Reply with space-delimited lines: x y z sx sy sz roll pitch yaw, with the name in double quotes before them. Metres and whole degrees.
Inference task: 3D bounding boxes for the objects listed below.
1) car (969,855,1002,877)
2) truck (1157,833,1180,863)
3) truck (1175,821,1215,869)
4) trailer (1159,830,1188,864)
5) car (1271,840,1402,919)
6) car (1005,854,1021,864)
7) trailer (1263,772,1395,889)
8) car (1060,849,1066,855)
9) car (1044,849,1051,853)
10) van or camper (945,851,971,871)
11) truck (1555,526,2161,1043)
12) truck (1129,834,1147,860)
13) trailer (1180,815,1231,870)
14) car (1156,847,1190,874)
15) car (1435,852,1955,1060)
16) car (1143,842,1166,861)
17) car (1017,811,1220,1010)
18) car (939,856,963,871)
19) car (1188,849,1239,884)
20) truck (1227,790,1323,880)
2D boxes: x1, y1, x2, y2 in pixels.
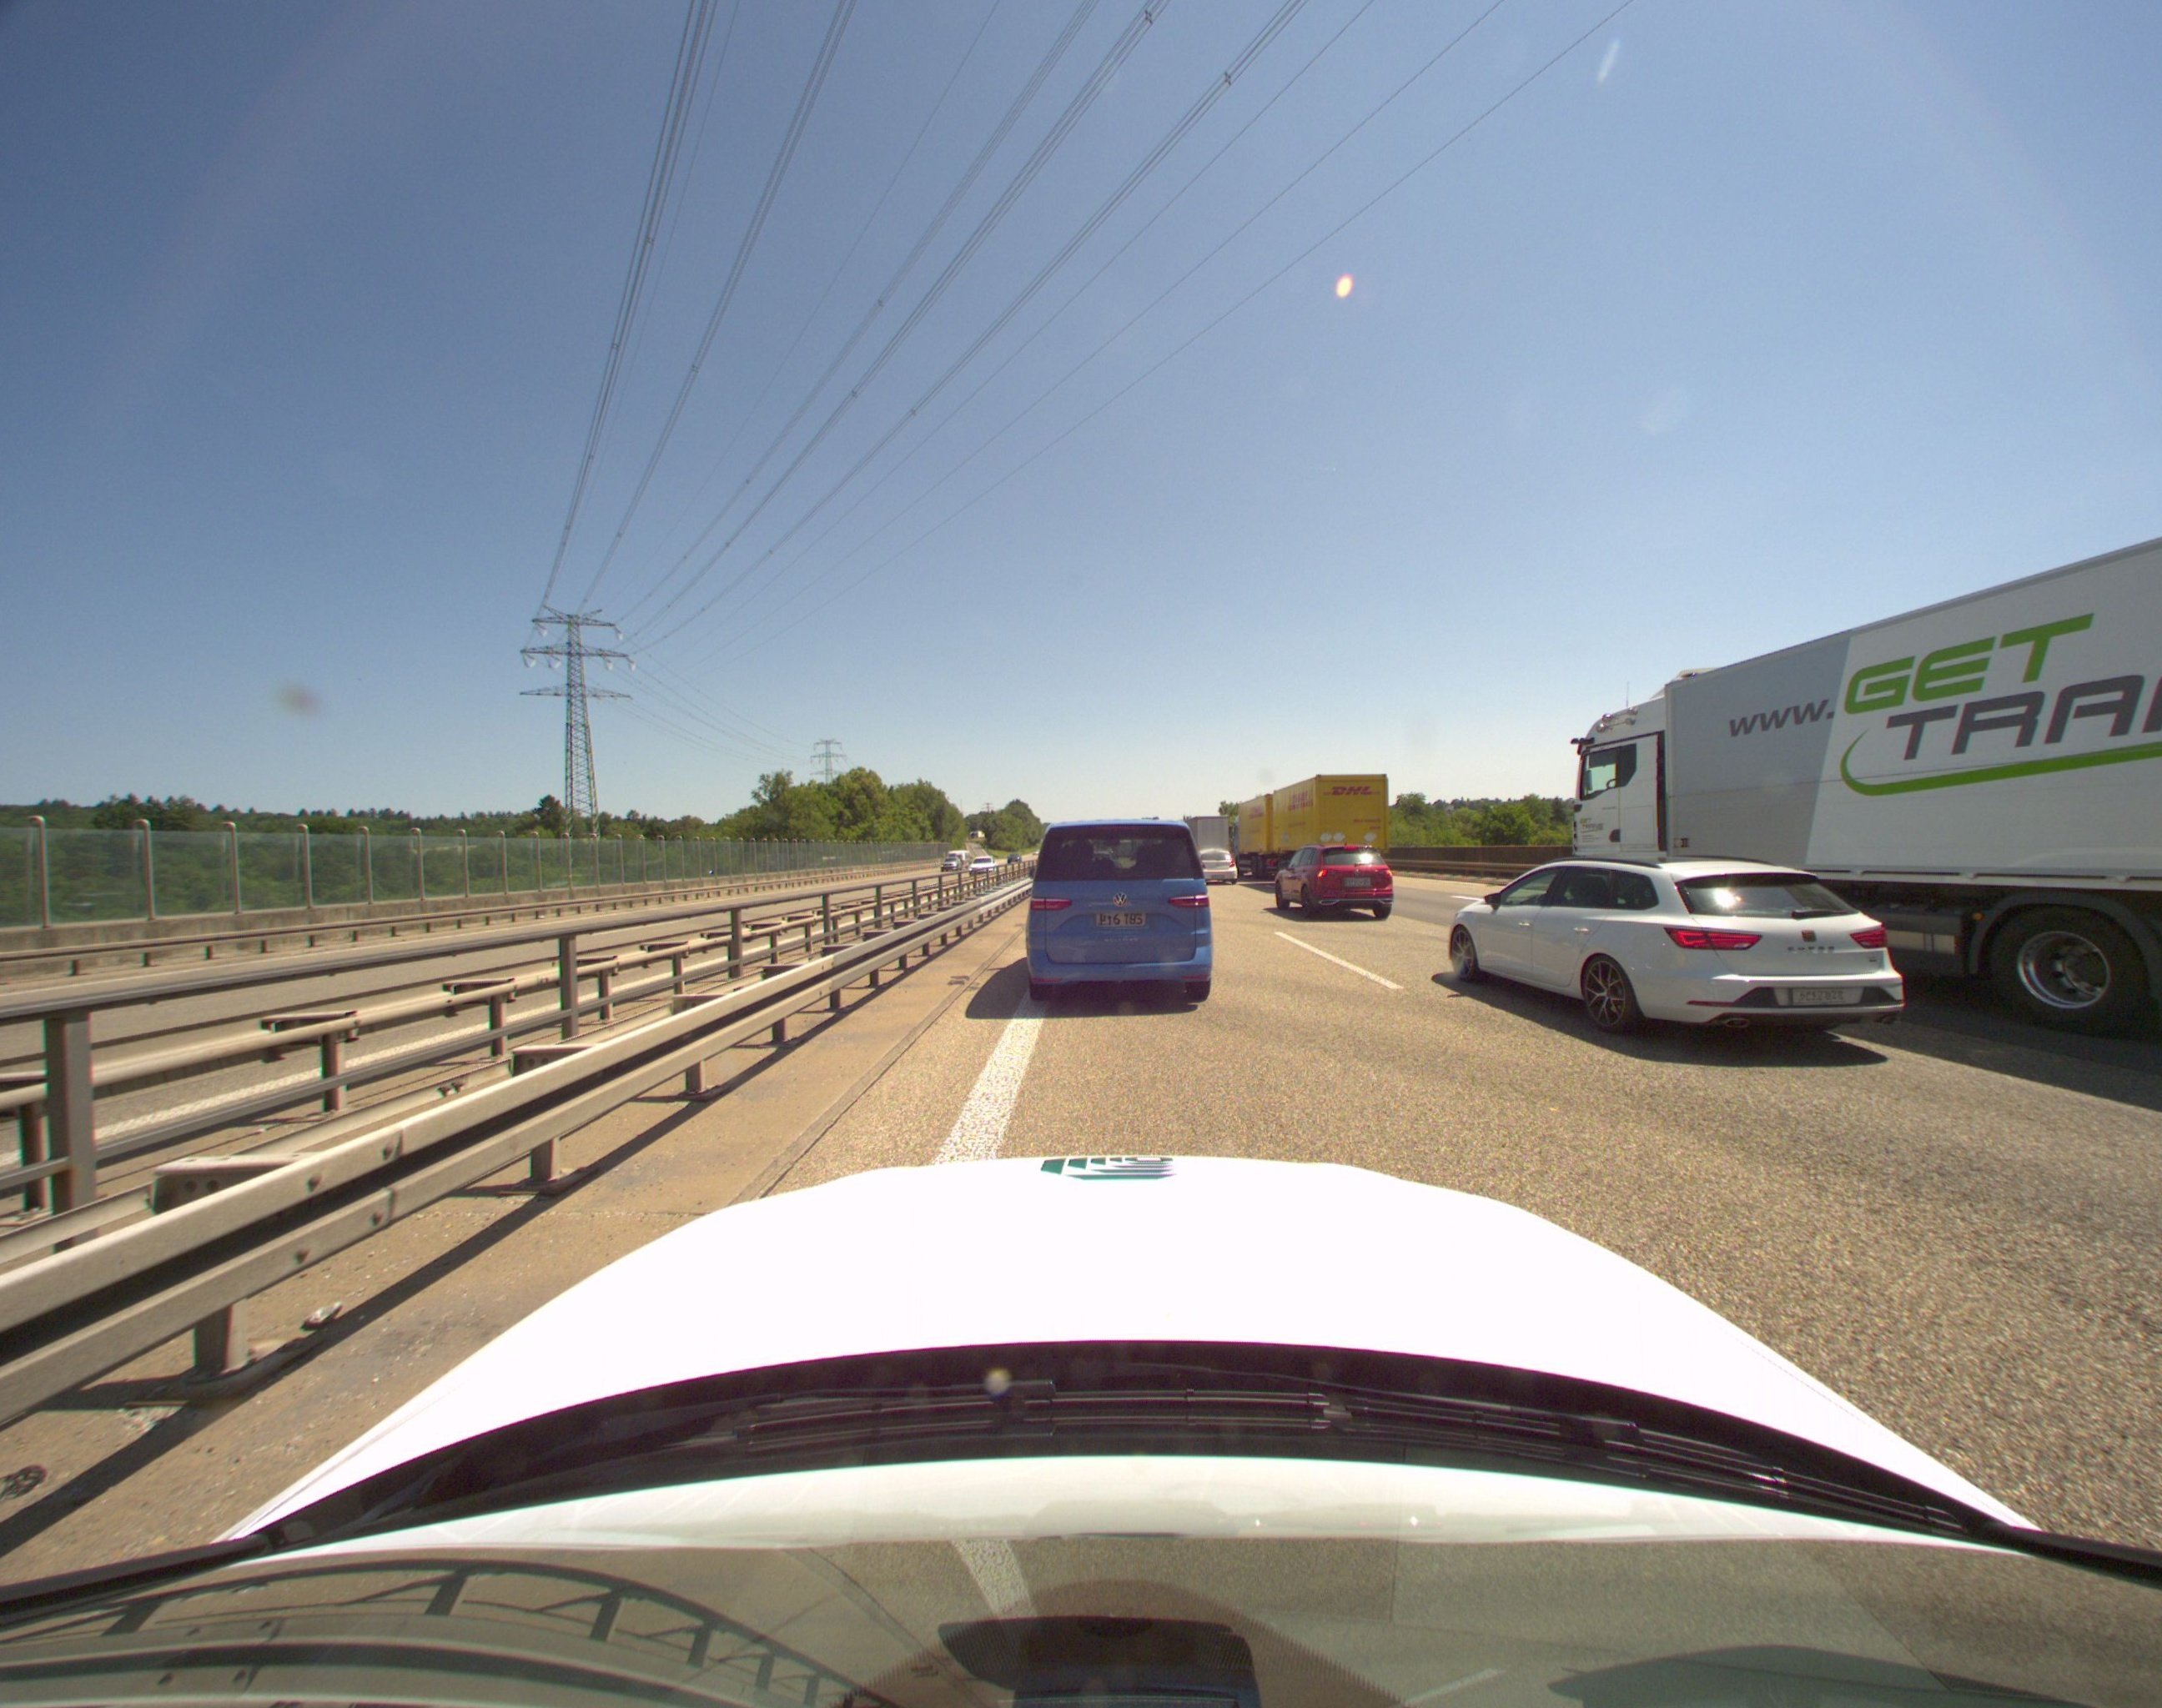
"car" -7.008 0.879 59.968 1.751 1.449 4.287 -4 0 1
"truck" 11.039 -0.703 103.116 2.359 3.722 6.034 0 0 1
"truck" 10.271 -0.782 73.749 2.758 4.095 6.986 0 0 1
"trailer" 11.001 -0.766 97.469 2.371 3.744 11.189 0 0 1
"car" 5.771 0.524 18.912 1.844 1.608 4.001 -1 0 1
"car" -9.978 0.746 120.090 1.849 1.397 4.678 0 1 2
"trailer" 9.563 -0.796 32.605 2.692 4.023 8.932 0 0 1
"car" -5.687 -0.657 259.613 1.834 1.529 3.559 -3 0 1
"car" -10.160 -0.917 246.669 1.794 1.386 4.264 0 0 1
"van or camper" -14.365 0.832 95.652 1.987 2.211 5.537 -4 0 1
"truck" 8.982 -0.505 7.718 2.841 3.602 10.770 0 0 1
"truck" 11.279 -1.362 162.548 2.824 5.040 11.144 0 0 0
"trailer" 10.126 -0.831 67.440 2.745 4.146 11.315 0 0 1
"car" 5.588 0.420 49.871 1.709 1.587 3.822 -1 -1 1
"car" 5.116 0.693 7.674 1.775 1.387 4.188 -1 0 0
"car" 6.294 -0.188 70.046 1.709 1.540 3.821 -1 -2 1
"car" 0.409 0.528 9.688 1.875 1.837 4.001 -1 0 1
"car" -14.443 1.047 90.749 1.850 1.545 4.201 -4 -1 1
"car" 5.802 0.529 36.116 1.830 1.414 4.004 -1 0 4
"truck" 9.775 -0.831 42.249 2.712 4.054 10.338 0 0 1
